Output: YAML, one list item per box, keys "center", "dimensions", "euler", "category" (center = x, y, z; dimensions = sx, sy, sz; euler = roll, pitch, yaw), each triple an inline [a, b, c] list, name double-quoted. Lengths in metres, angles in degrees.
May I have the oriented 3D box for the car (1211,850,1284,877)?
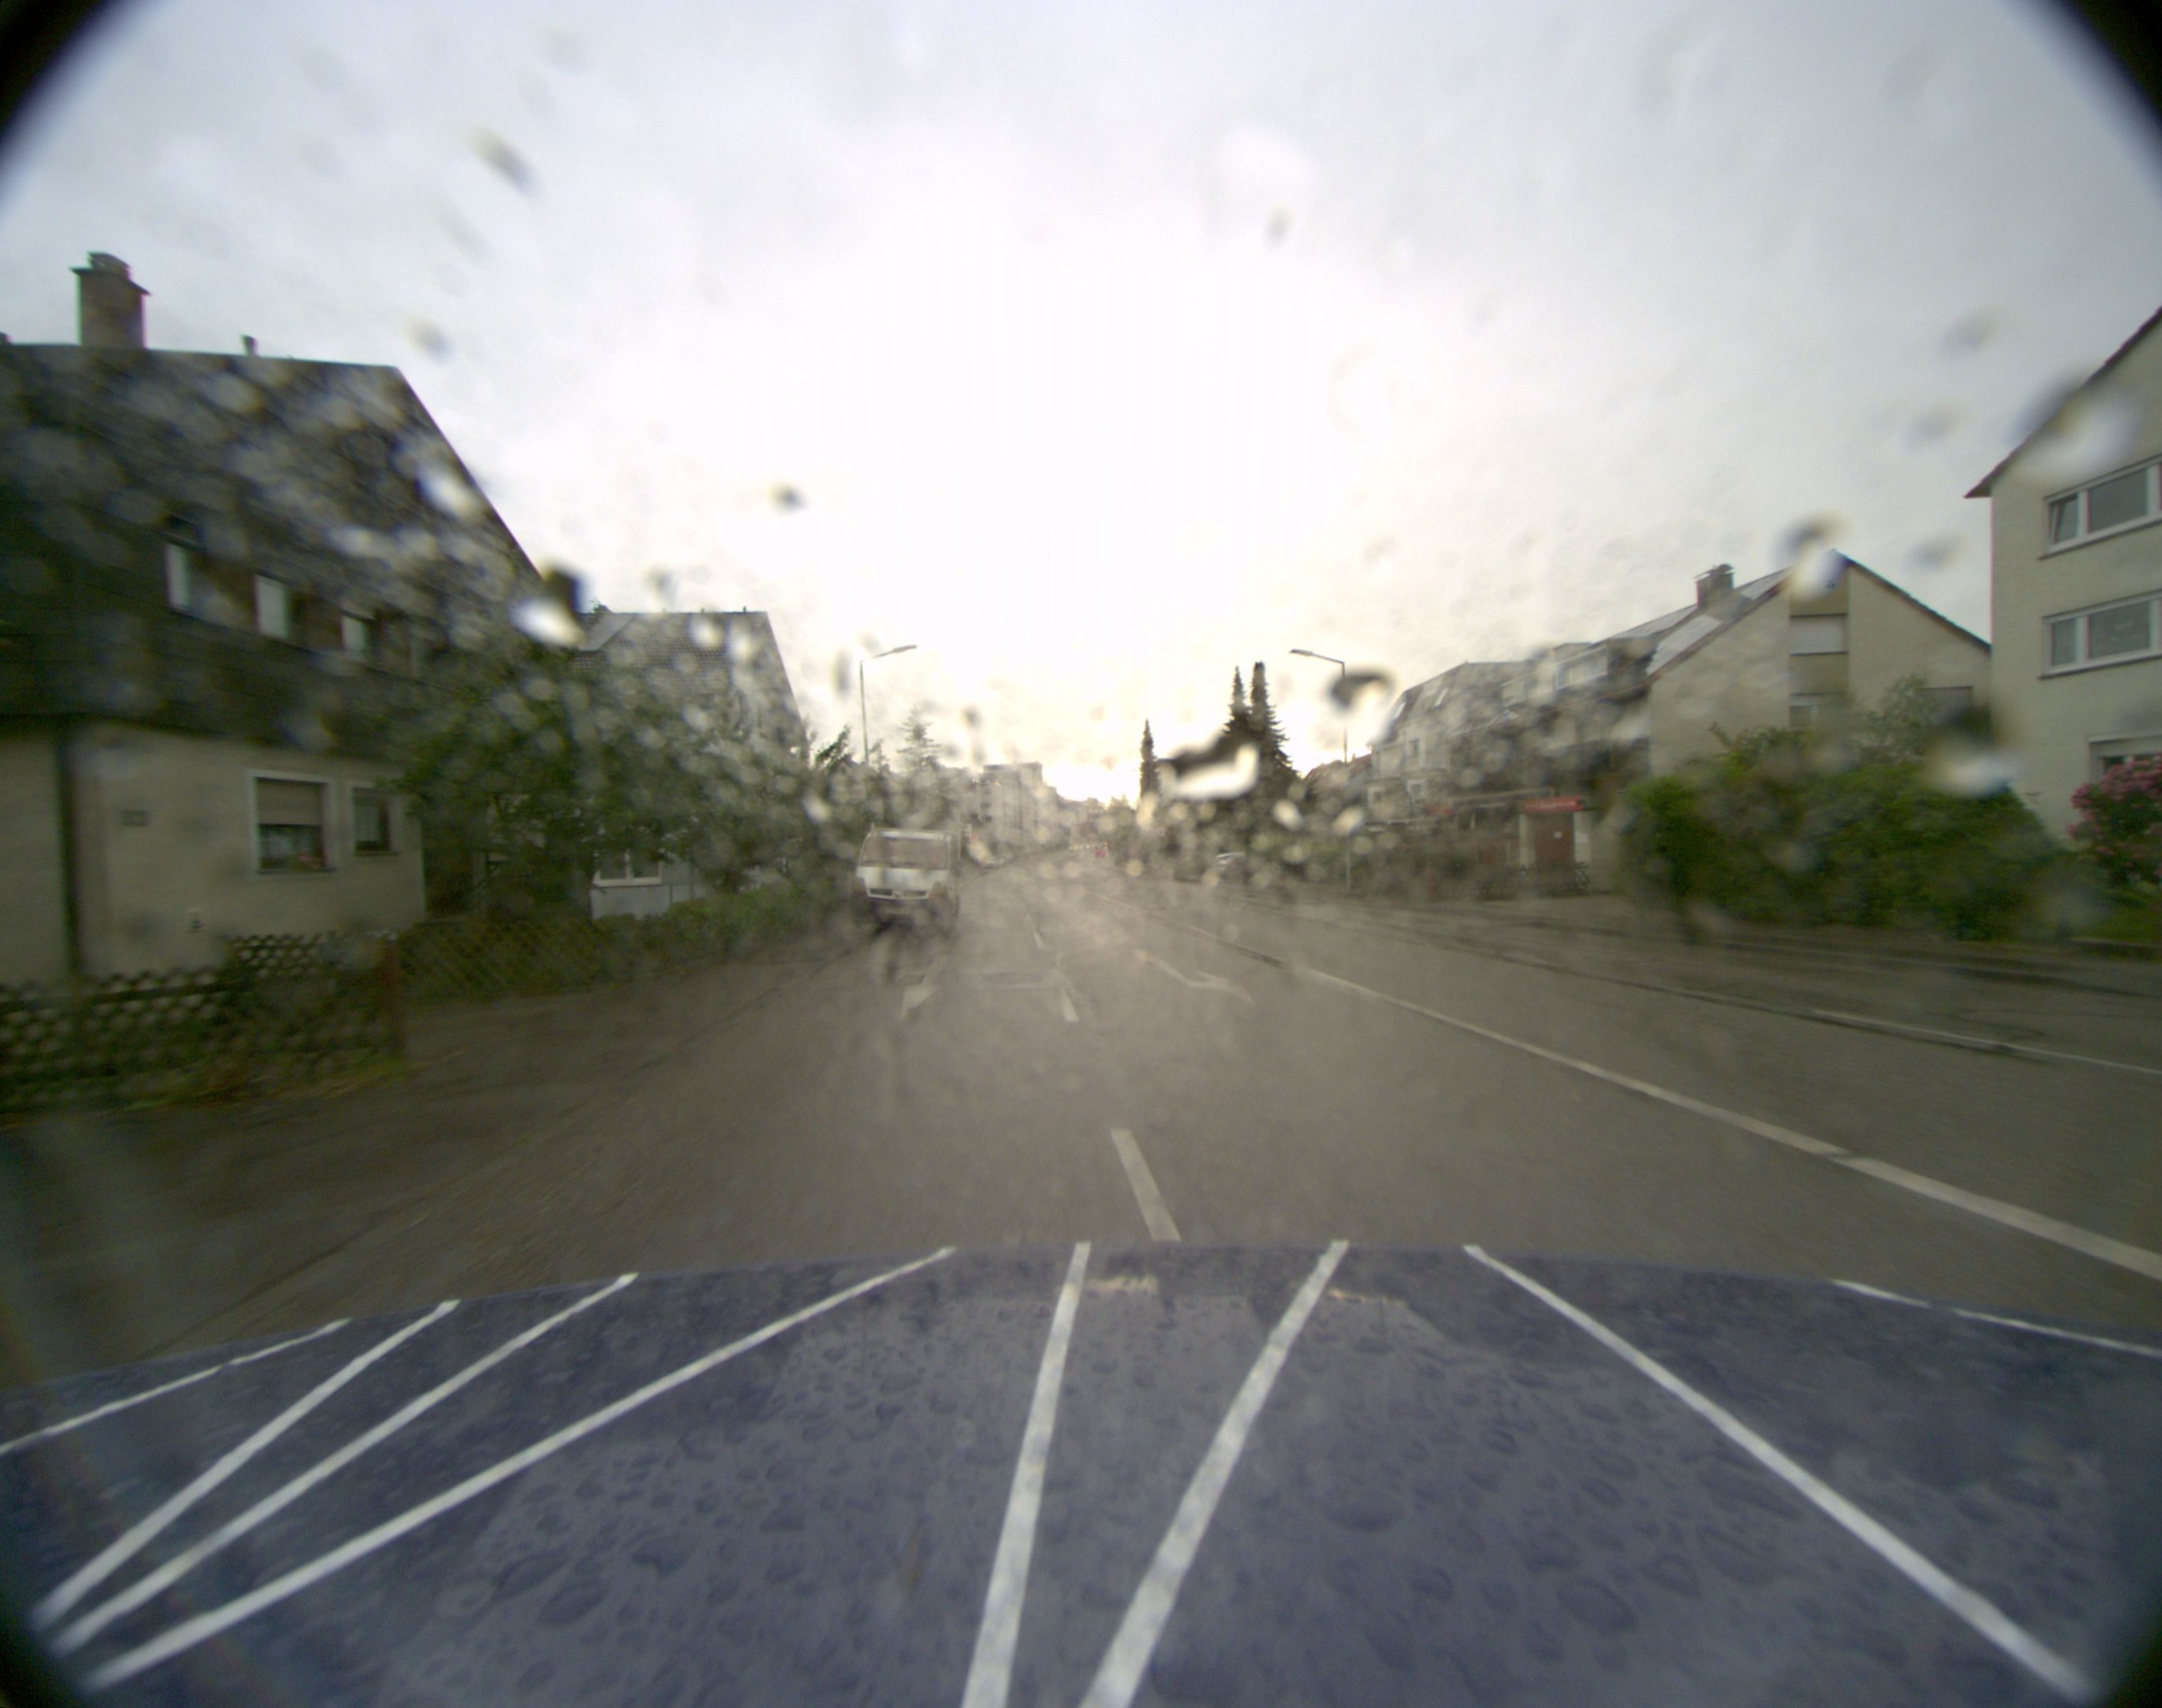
- center: [10.443, 0.576, 47.910]
  dimensions: [4.157, 1.434, 1.890]
  euler: [-3, 0, 1]
  category: "car"

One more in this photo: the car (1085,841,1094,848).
- center: [2.062, -2.233, 182.086]
  dimensions: [1.851, 1.753, 4.122]
  euler: [-2, 0, 4]
  category: "car"

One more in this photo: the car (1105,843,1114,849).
- center: [7.852, -2.191, 208.184]
  dimensions: [1.851, 1.753, 4.123]
  euler: [-2, 0, 8]
  category: "car"

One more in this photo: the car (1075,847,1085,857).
- center: [-0.288, -0.467, 151.242]
  dimensions: [1.852, 1.870, 4.120]
  euler: [-2, 1, -1]
  category: "car"

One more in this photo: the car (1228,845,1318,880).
- center: [10.564, 0.472, 42.080]
  dimensions: [4.469, 1.651, 2.000]
  euler: [-3, 0, 1]
  category: "car"

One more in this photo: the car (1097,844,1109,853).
- center: [4.318, -1.102, 148.510]
  dimensions: [1.998, 1.606, 4.001]
  euler: [-2, 0, 5]
  category: "car"

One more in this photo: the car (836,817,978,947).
- center: [-3.733, 0.530, 17.657]
  dimensions: [2.398, 2.417, 6.429]
  euler: [-1, 0, -6]
  category: "car"

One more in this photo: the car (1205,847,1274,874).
- center: [10.537, 0.420, 50.647]
  dimensions: [4.116, 1.536, 2.000]
  euler: [-3, 0, -1]
  category: "car"

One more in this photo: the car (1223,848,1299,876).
- center: [10.695, 0.468, 45.418]
  dimensions: [4.036, 1.434, 1.812]
  euler: [-3, 0, 0]
  category: "car"

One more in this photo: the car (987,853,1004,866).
- center: [-11.171, 0.664, 99.459]
  dimensions: [1.913, 1.622, 3.701]
  euler: [-2, 0, -1]
  category: "car"
